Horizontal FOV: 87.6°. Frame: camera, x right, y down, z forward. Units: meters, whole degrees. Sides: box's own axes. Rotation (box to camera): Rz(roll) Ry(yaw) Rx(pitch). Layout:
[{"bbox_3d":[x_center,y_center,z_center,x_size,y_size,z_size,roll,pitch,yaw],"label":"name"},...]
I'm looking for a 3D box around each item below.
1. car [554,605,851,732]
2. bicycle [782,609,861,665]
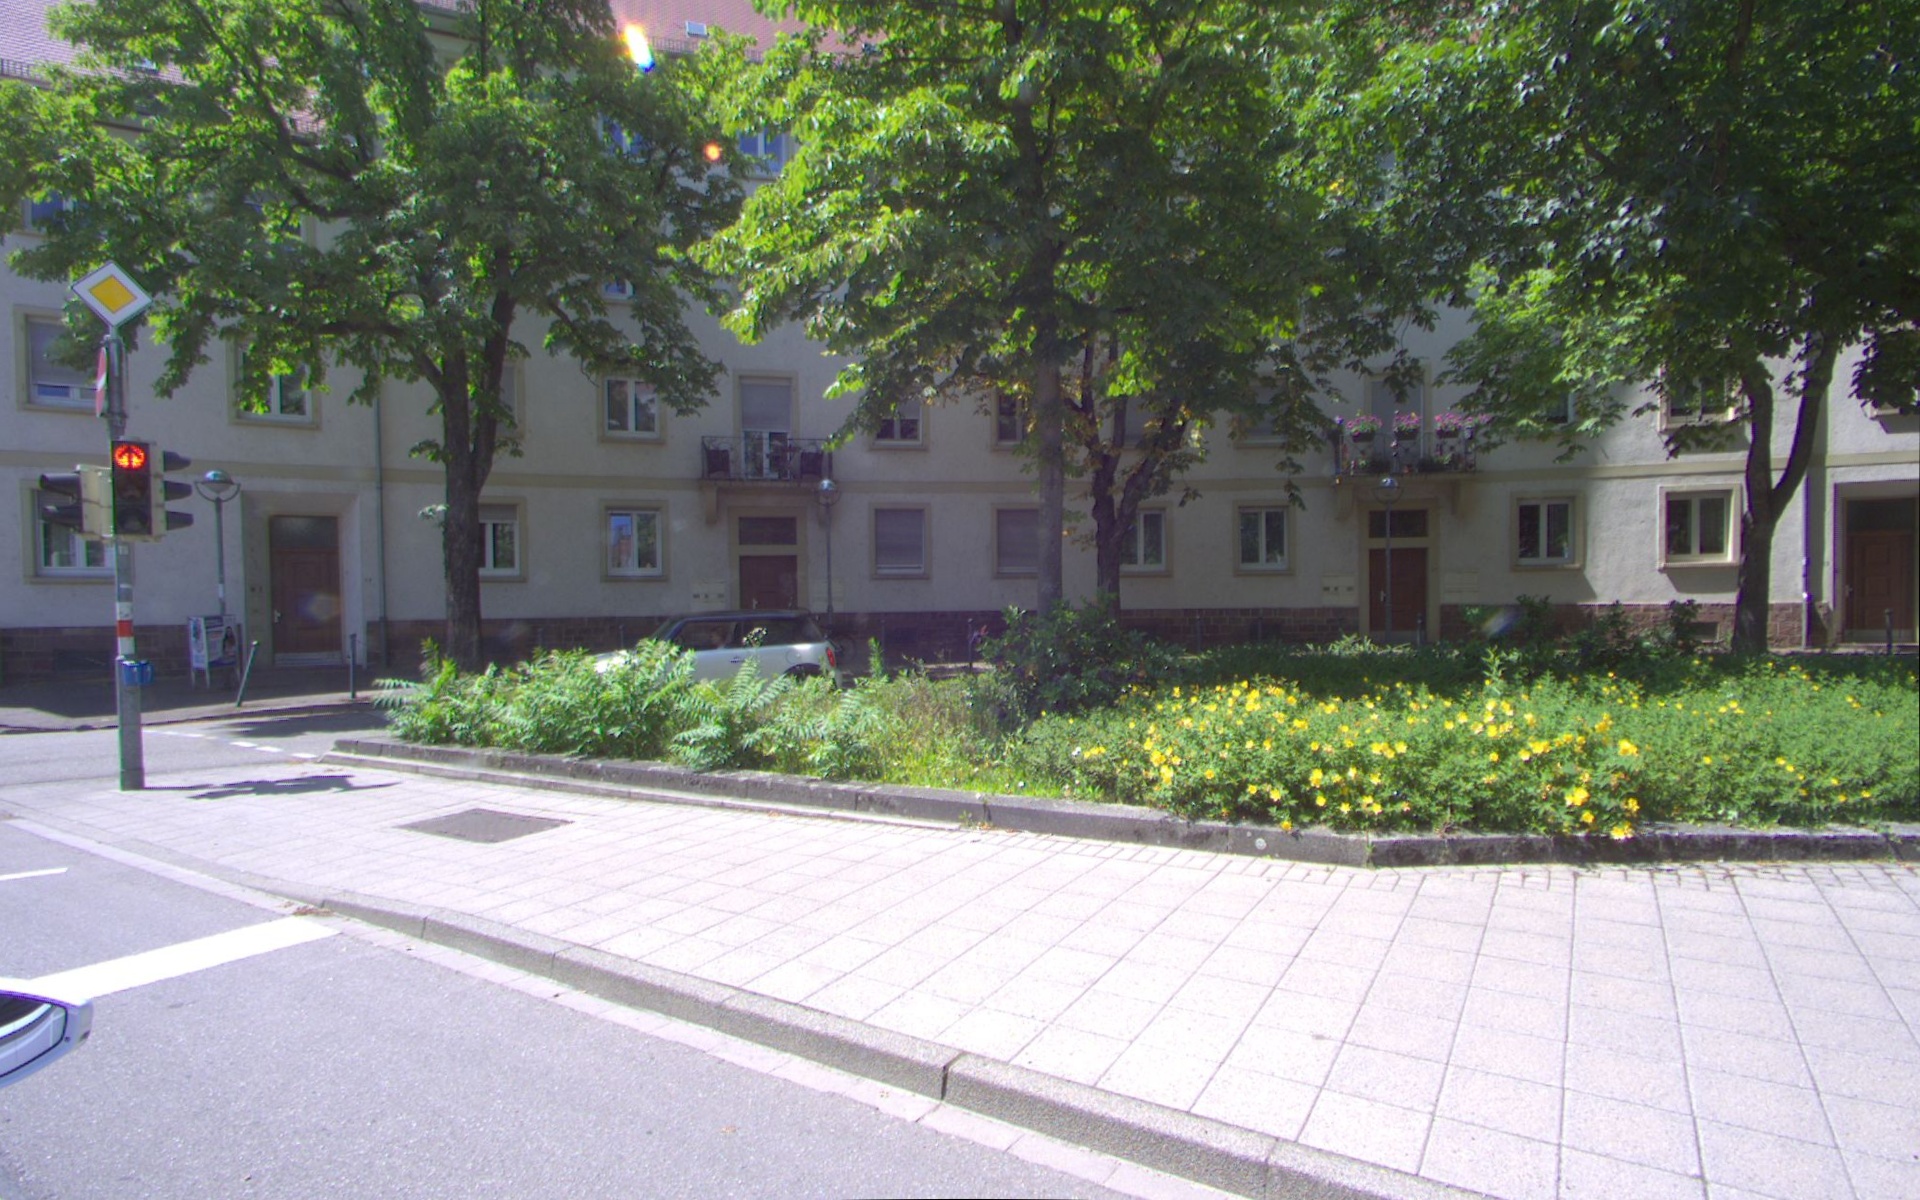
[{"bbox_3d":[-3.354,0.841,13.324,3.586,1.526,1.703,0,0,-14],"label":"car"},{"bbox_3d":[-2.878,0.757,20.864,1.575,1.119,0.525,-1,1,-4],"label":"bicycle"}]
